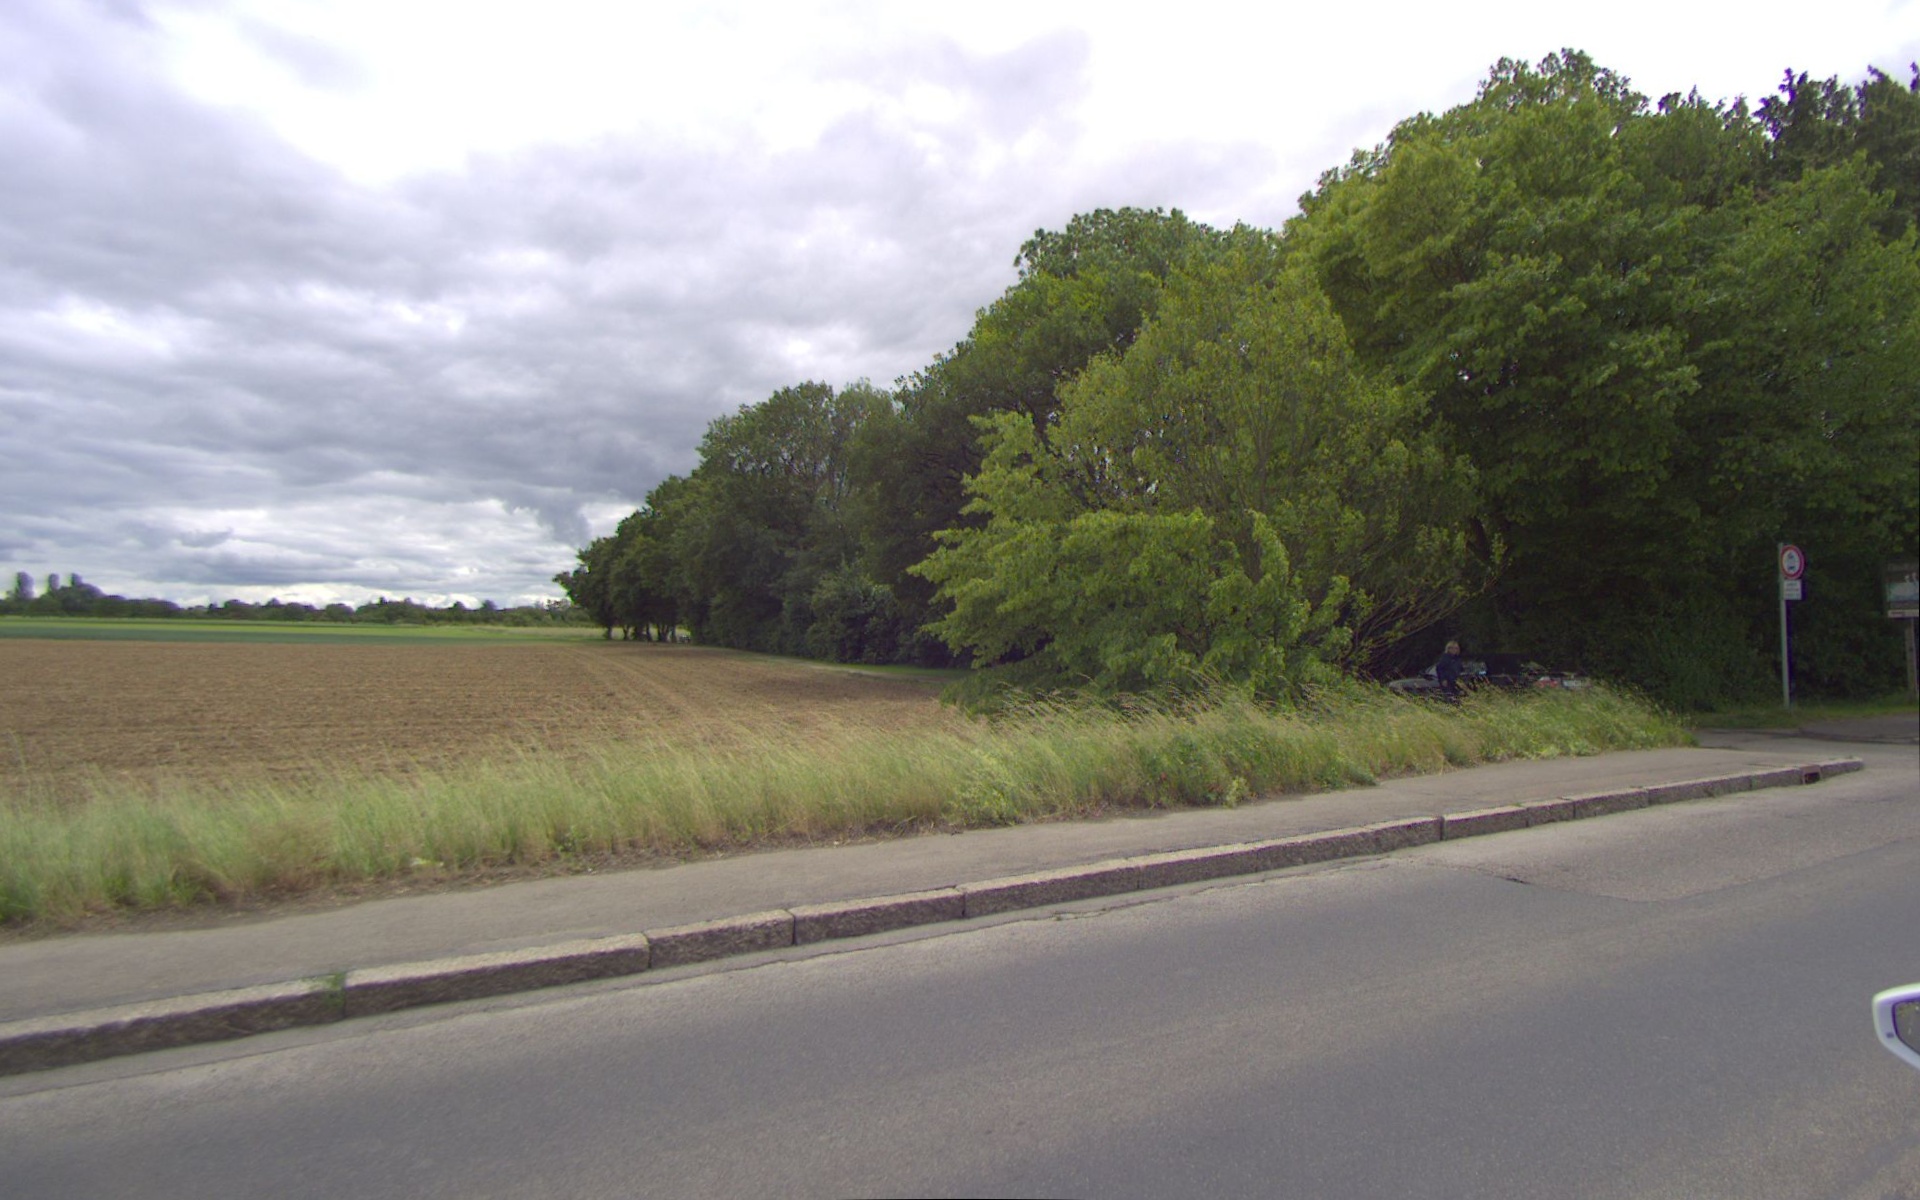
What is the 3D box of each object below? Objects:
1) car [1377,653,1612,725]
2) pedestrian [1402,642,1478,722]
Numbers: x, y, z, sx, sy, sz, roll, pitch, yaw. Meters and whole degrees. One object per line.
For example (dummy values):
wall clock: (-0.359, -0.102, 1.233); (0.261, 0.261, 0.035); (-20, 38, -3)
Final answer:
car: (10.820, 1.781, 20.631); (1.723, 1.315, 3.973); (1, -4, -28)
pedestrian: (9.581, 1.612, 20.074); (0.930, 1.550, 1.031); (1, -2, -29)
